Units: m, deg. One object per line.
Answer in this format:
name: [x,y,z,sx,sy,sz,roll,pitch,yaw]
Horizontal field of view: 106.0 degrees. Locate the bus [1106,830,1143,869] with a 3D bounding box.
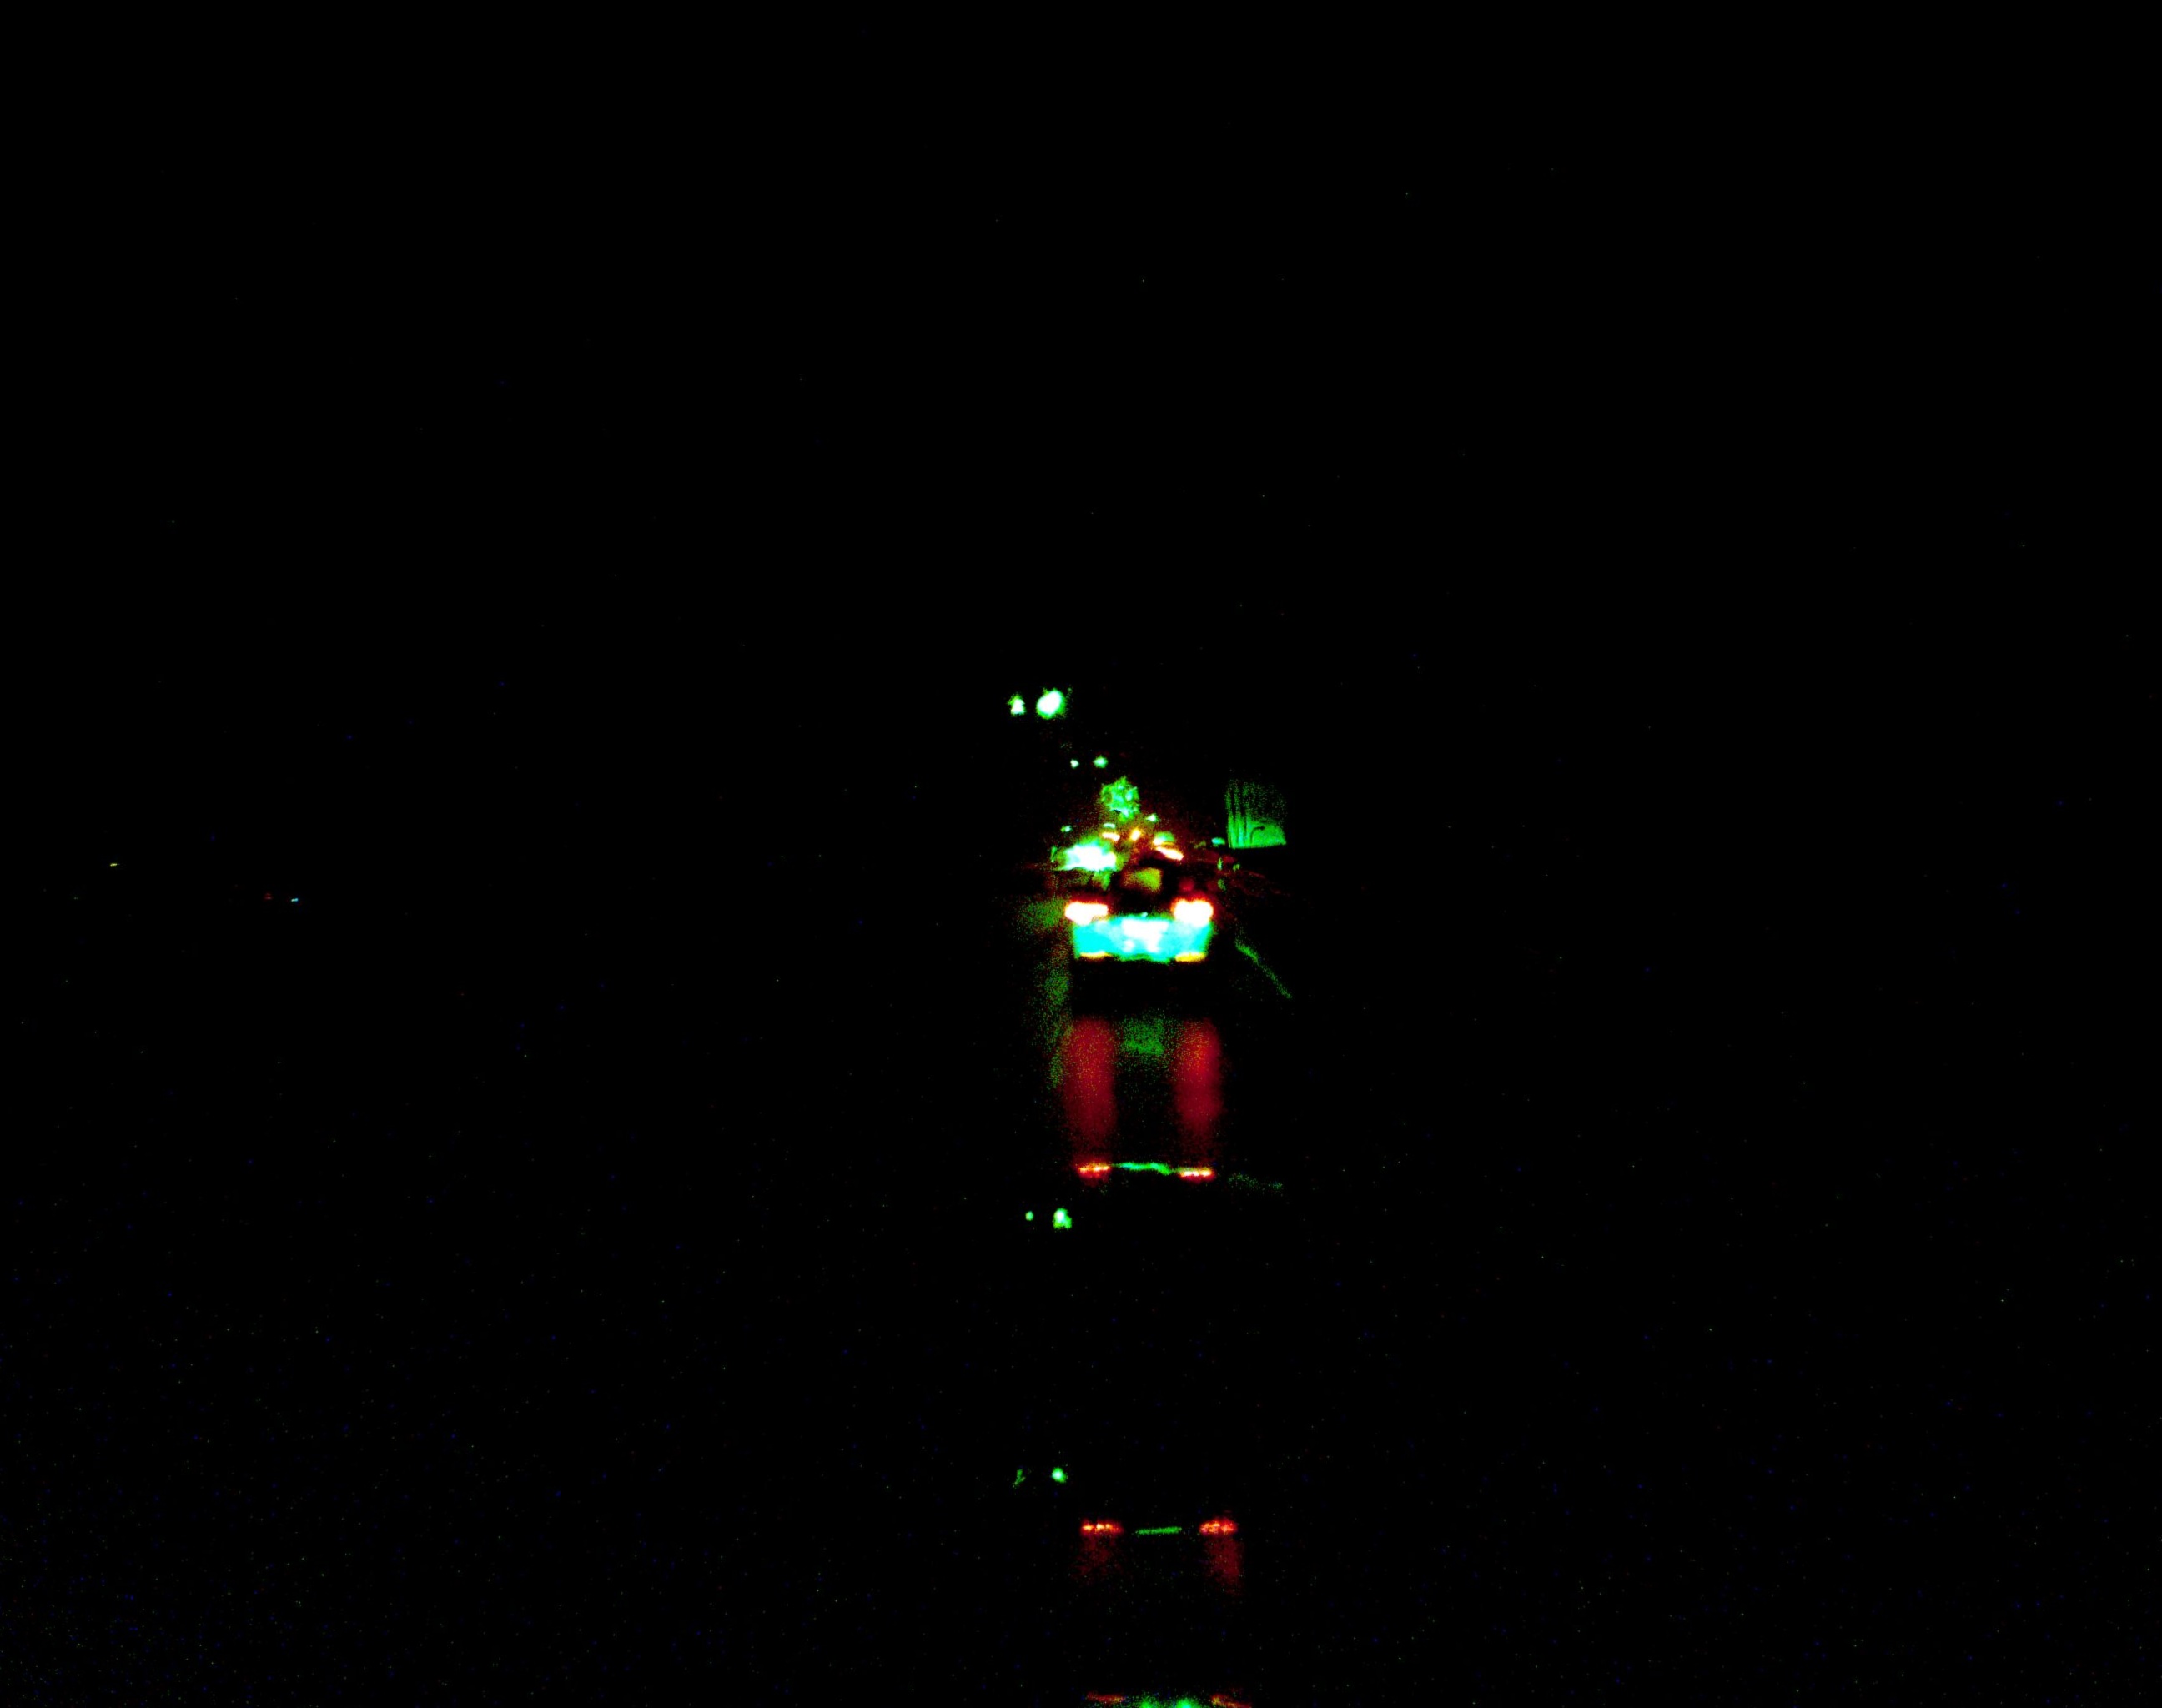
bus: [3.890,-0.383,70.643,2.730,3.123,9.217,0,0,6]

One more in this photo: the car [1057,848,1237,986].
car: [0.962,0.707,10.738,1.933,1.491,3.724,-1,-1,8]

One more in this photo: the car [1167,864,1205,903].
car: [5.552,1.515,42.681,1.825,1.948,4.009,0,-1,9]

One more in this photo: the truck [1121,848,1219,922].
truck: [3.667,1.133,31.714,3.049,2.528,7.189,0,-1,12]
